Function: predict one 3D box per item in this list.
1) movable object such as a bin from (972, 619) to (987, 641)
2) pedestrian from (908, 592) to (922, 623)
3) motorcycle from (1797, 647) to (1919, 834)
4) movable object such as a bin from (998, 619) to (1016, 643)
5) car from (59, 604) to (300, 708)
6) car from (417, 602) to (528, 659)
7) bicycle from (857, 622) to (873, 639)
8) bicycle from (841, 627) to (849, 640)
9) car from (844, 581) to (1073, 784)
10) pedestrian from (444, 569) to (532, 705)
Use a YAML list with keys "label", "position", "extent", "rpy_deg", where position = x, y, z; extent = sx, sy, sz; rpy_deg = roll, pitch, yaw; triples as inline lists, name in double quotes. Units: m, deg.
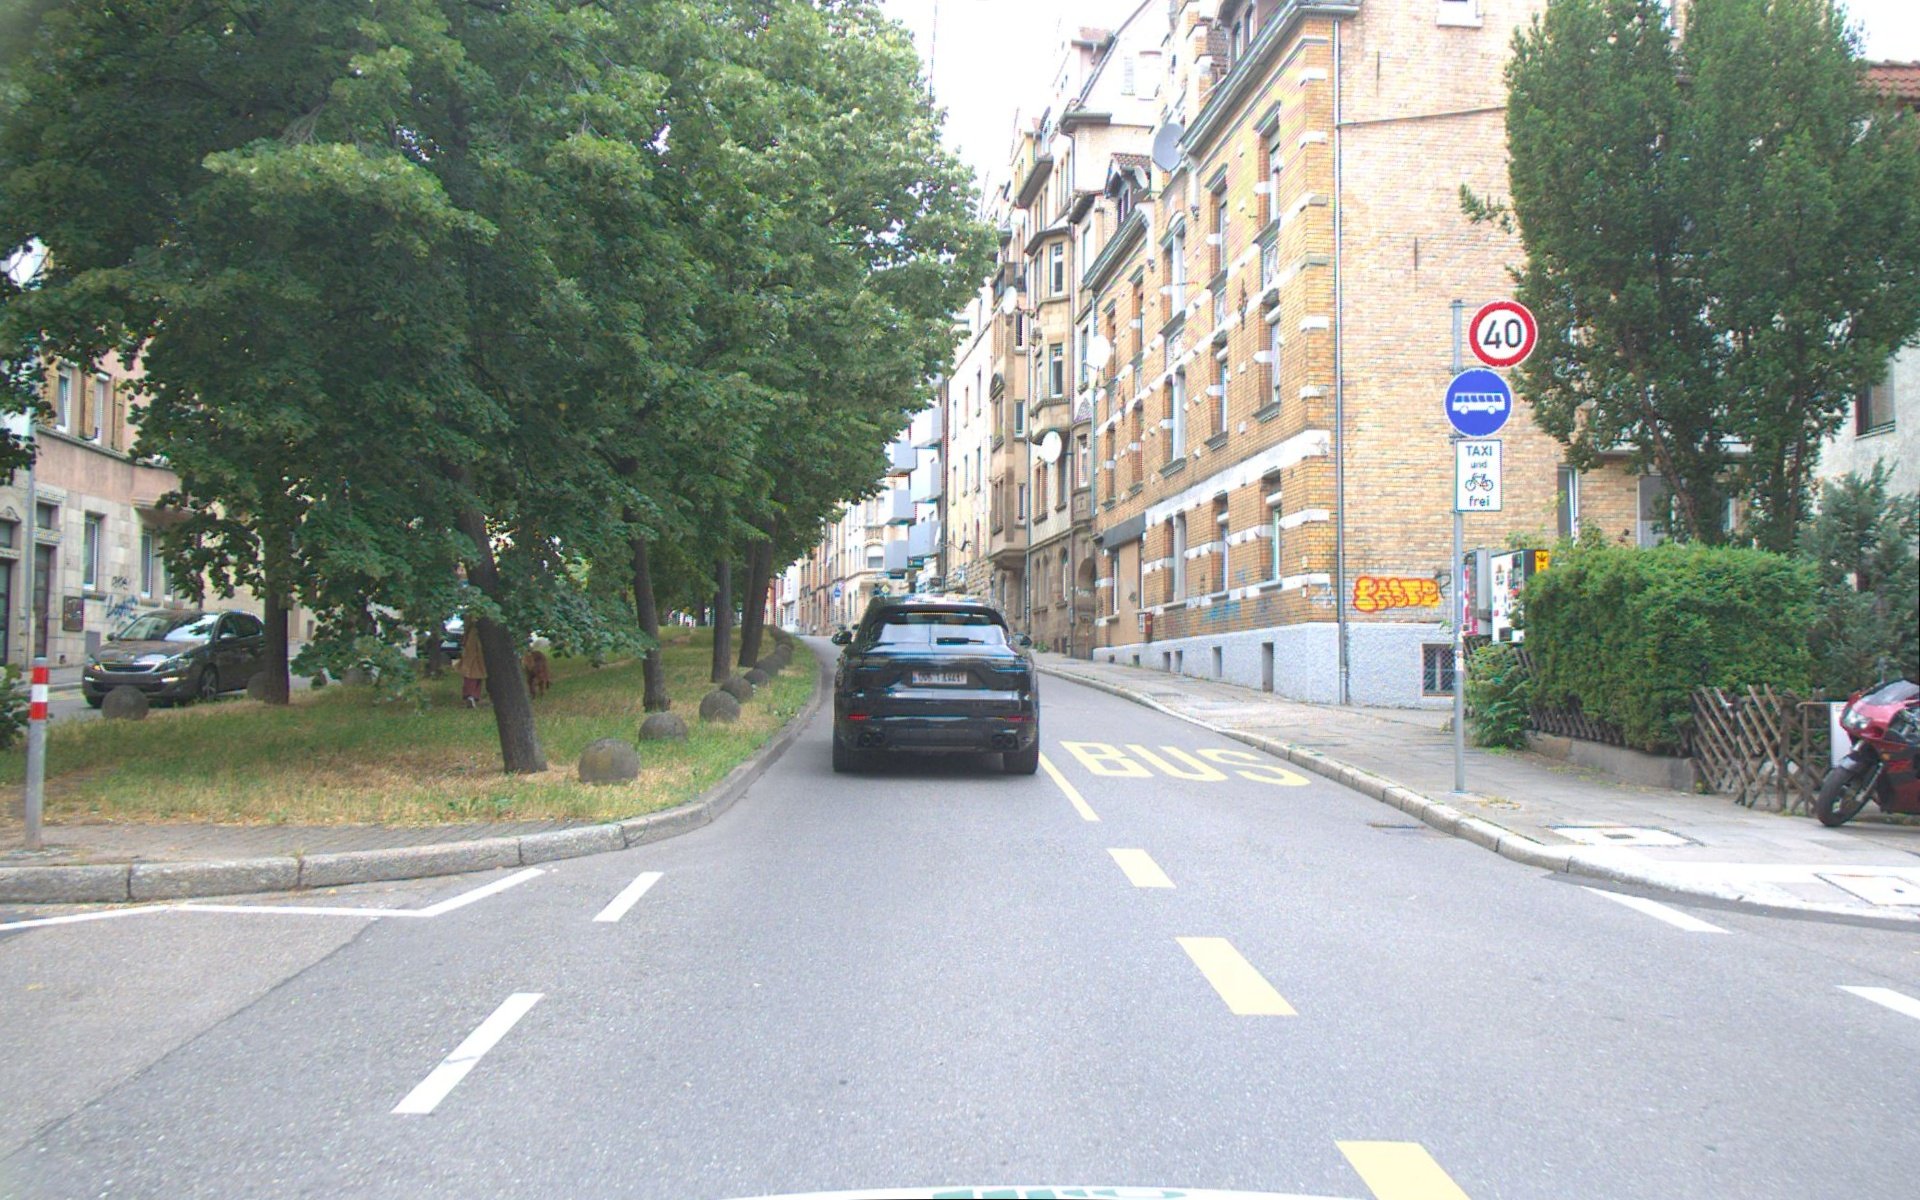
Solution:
- label: "movable object such as a bin"
  position: [0.857, 1.288, 71.776]
  extent: [0.583, 0.920, 0.502]
  rpy_deg: [2, -5, -7]
- label: "pedestrian"
  position: [-2.504, 0.431, 92.018]
  extent: [0.737, 1.723, 0.857]
  rpy_deg: [0, -2, -7]
- label: "motorcycle"
  position: [7.525, 1.047, 12.373]
  extent: [2.016, 1.290, 1.009]
  rpy_deg: [2, 0, -6]
- label: "movable object such as a bin"
  position: [1.804, 1.189, 63.228]
  extent: [0.583, 0.920, 0.562]
  rpy_deg: [1, -1, -7]
- label: "car"
  position: [-12.265, 0.823, 26.358]
  extent: [1.674, 1.406, 4.667]
  rpy_deg: [-1, 1, -1]
- label: "car"
  position: [-13.431, 0.809, 45.817]
  extent: [1.722, 1.406, 4.667]
  rpy_deg: [-1, 1, -1]
- label: "bicycle"
  position: [-7.050, 2.273, 122.559]
  extent: [0.863, 1.149, 2.972]
  rpy_deg: [2, -2, -9]
- label: "bicycle"
  position: [-9.269, 2.711, 133.428]
  extent: [0.438, 1.055, 2.242]
  rpy_deg: [0, -3, -10]
- label: "car"
  position: [-0.128, 0.710, 16.557]
  extent: [1.954, 1.694, 3.998]
  rpy_deg: [2, 1, -4]
- label: "pedestrian"
  position: [-6.334, 0.502, 22.244]
  extent: [0.816, 1.742, 1.122]
  rpy_deg: [-3, -2, -2]
